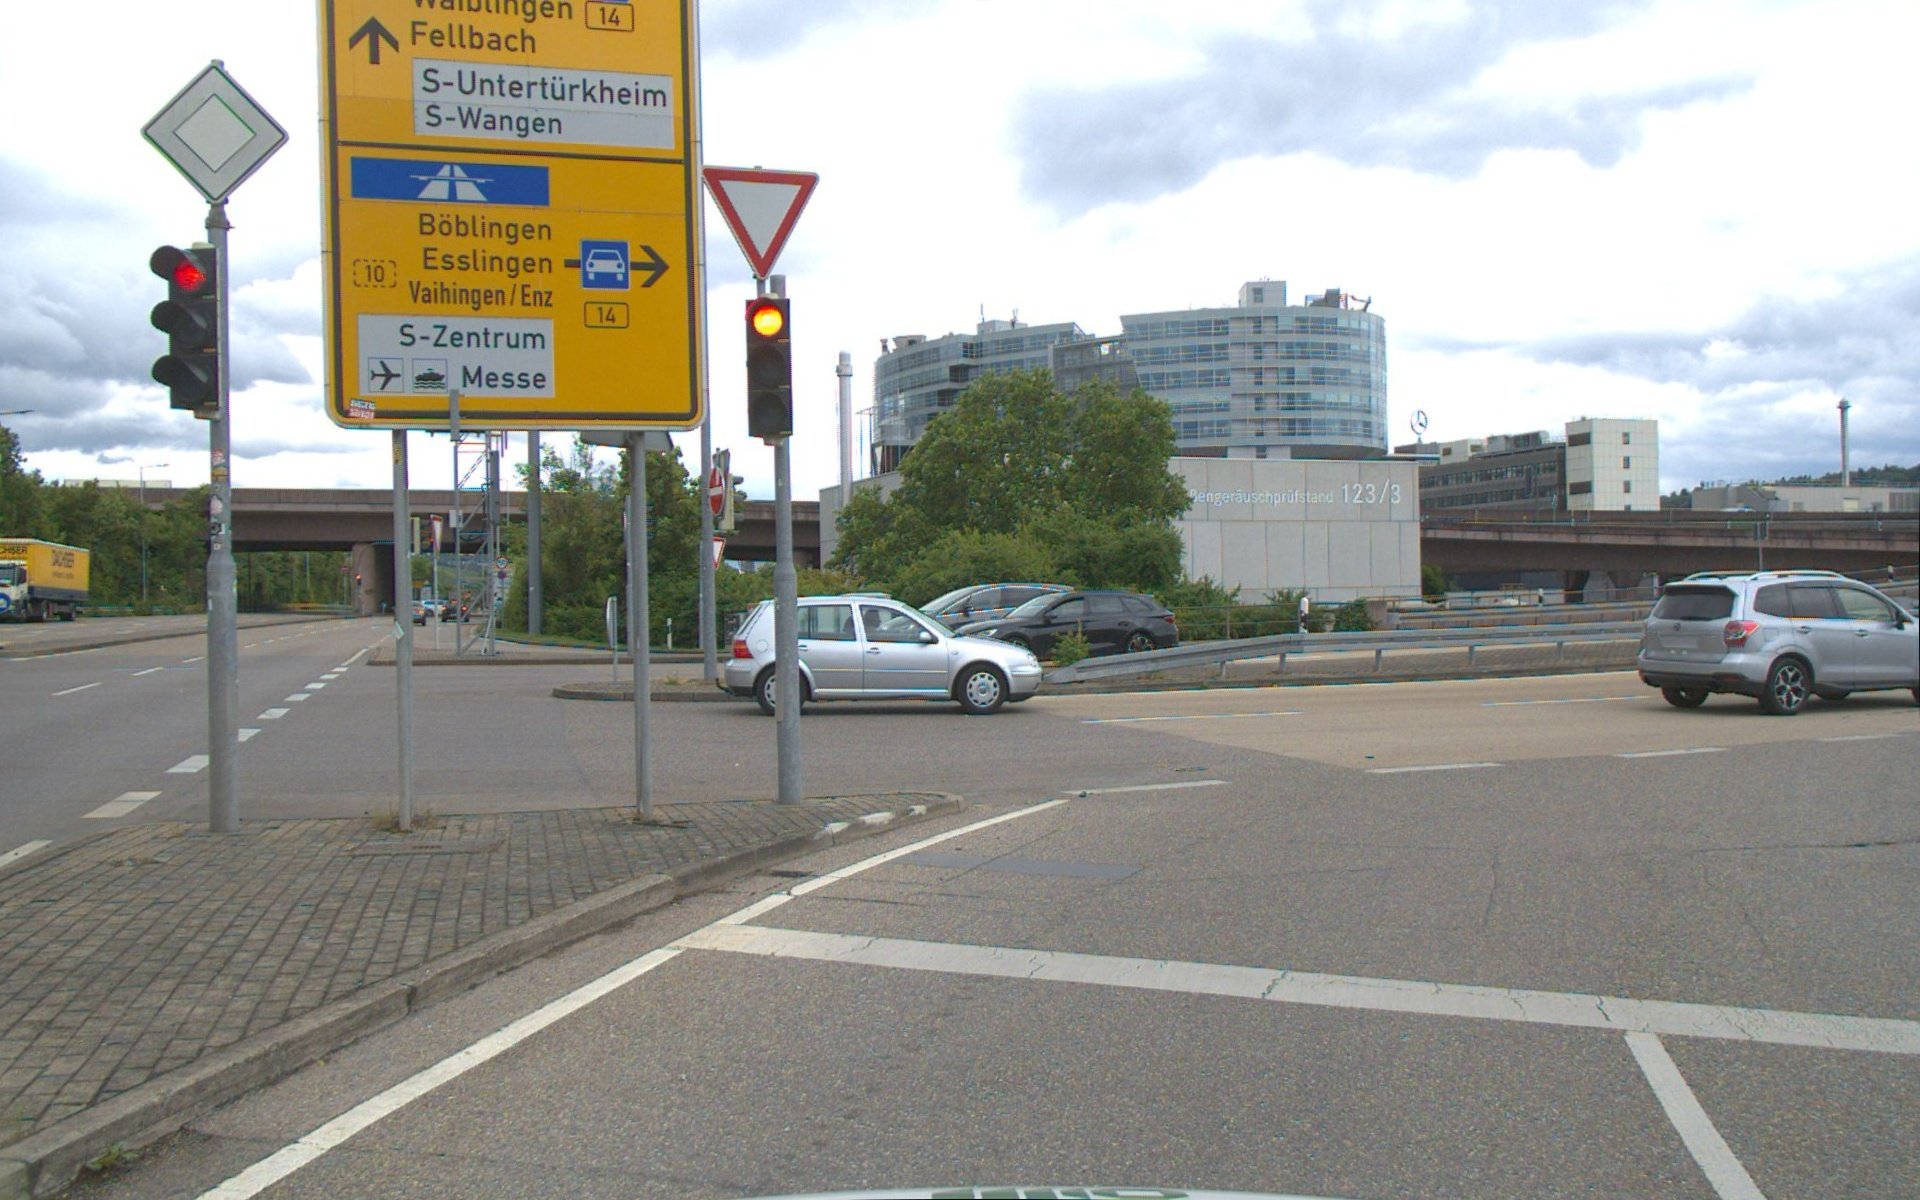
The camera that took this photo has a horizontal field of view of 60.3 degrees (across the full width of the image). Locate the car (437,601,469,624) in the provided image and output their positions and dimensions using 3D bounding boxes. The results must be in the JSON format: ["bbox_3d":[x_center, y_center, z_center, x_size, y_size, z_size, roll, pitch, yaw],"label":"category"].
[{"bbox_3d":[-34.675,0.876,113.189,1.962,1.490,4.091,1,-2,-17],"label":"car"}]

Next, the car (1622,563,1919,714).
[{"bbox_3d":[10.805,0.422,21.042,4.476,1.767,1.719,-1,1,-21],"label":"car"}]

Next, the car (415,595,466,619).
[{"bbox_3d":[-45.287,0.626,144.169,3.936,1.892,1.985,3,0,-25],"label":"car"}]

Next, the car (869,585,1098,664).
[{"bbox_3d":[0.509,0.497,35.876,4.608,1.599,1.945,0,1,-20],"label":"car"}]

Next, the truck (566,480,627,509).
[{"bbox_3d":[-32.419,-9.407,147.501,4.953,2.362,2.001,1,0,4],"label":"truck"}]

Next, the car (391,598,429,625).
[{"bbox_3d":[-31.463,0.674,94.694,1.962,1.467,4.090,1,-2,-17],"label":"car"}]

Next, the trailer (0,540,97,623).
[{"bbox_3d":[-49.499,-1.014,88.997,2.824,4.155,11.381,2,0,-15],"label":"trailer"}]

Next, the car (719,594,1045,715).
[{"bbox_3d":[-0.975,0.666,21.100,3.972,1.425,1.729,-1,1,-3],"label":"car"}]

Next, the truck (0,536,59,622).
[{"bbox_3d":[-48.033,-1.070,83.540,2.824,4.155,6.461,2,0,-15],"label":"truck"}]

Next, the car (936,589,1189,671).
[{"bbox_3d":[1.983,0.538,32.074,4.541,1.482,1.943,0,1,-22],"label":"car"}]
